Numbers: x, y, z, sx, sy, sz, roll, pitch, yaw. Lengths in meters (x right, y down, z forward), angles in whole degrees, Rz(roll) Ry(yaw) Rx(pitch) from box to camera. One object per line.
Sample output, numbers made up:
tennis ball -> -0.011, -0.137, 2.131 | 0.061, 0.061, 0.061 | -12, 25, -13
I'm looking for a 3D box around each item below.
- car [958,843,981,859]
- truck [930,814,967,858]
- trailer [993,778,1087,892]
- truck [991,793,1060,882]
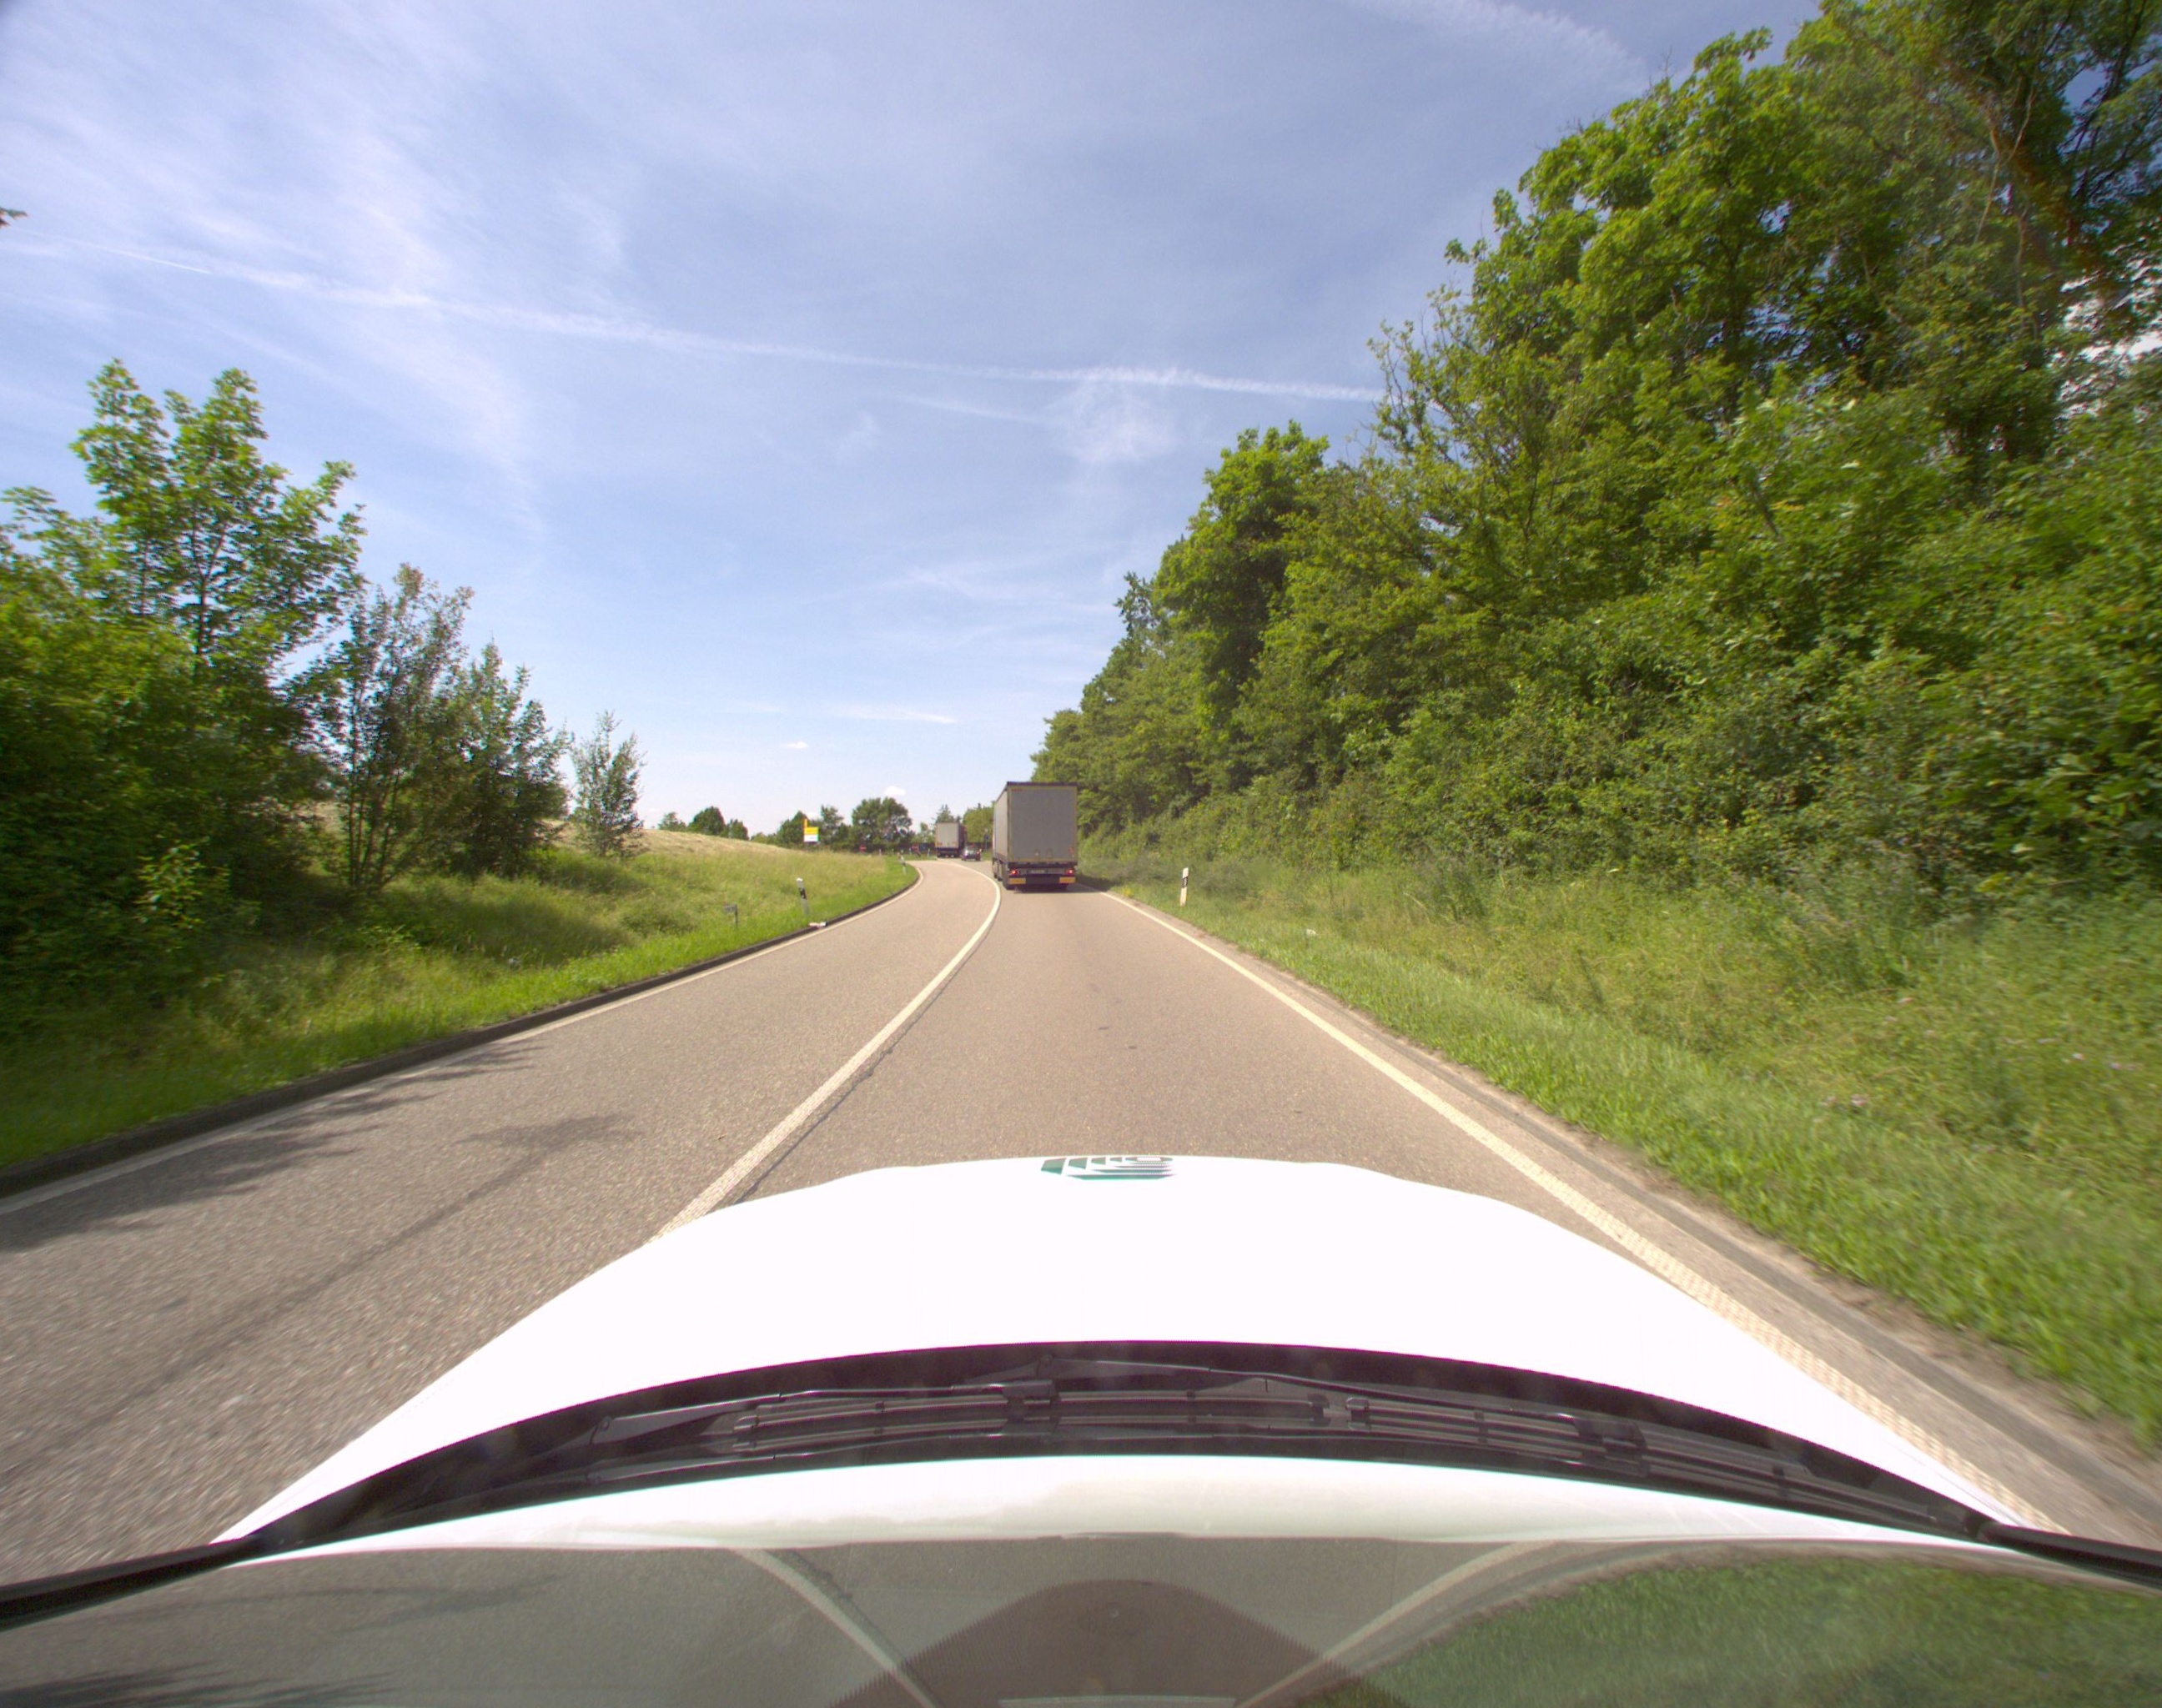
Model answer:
car -> -11.021, -0.341, 80.495 | 1.669, 1.486, 3.979 | -1, 1, -16
truck -> -15.665, -2.007, 97.332 | 3.826, 4.744, 16.160 | -1, 1, -8
trailer -> -2.149, -0.677, 35.422 | 3.024, 4.034, 13.317 | -1, 0, -7
truck -> -3.026, -0.778, 42.287 | 3.150, 4.224, 7.103 | 0, 0, -8
